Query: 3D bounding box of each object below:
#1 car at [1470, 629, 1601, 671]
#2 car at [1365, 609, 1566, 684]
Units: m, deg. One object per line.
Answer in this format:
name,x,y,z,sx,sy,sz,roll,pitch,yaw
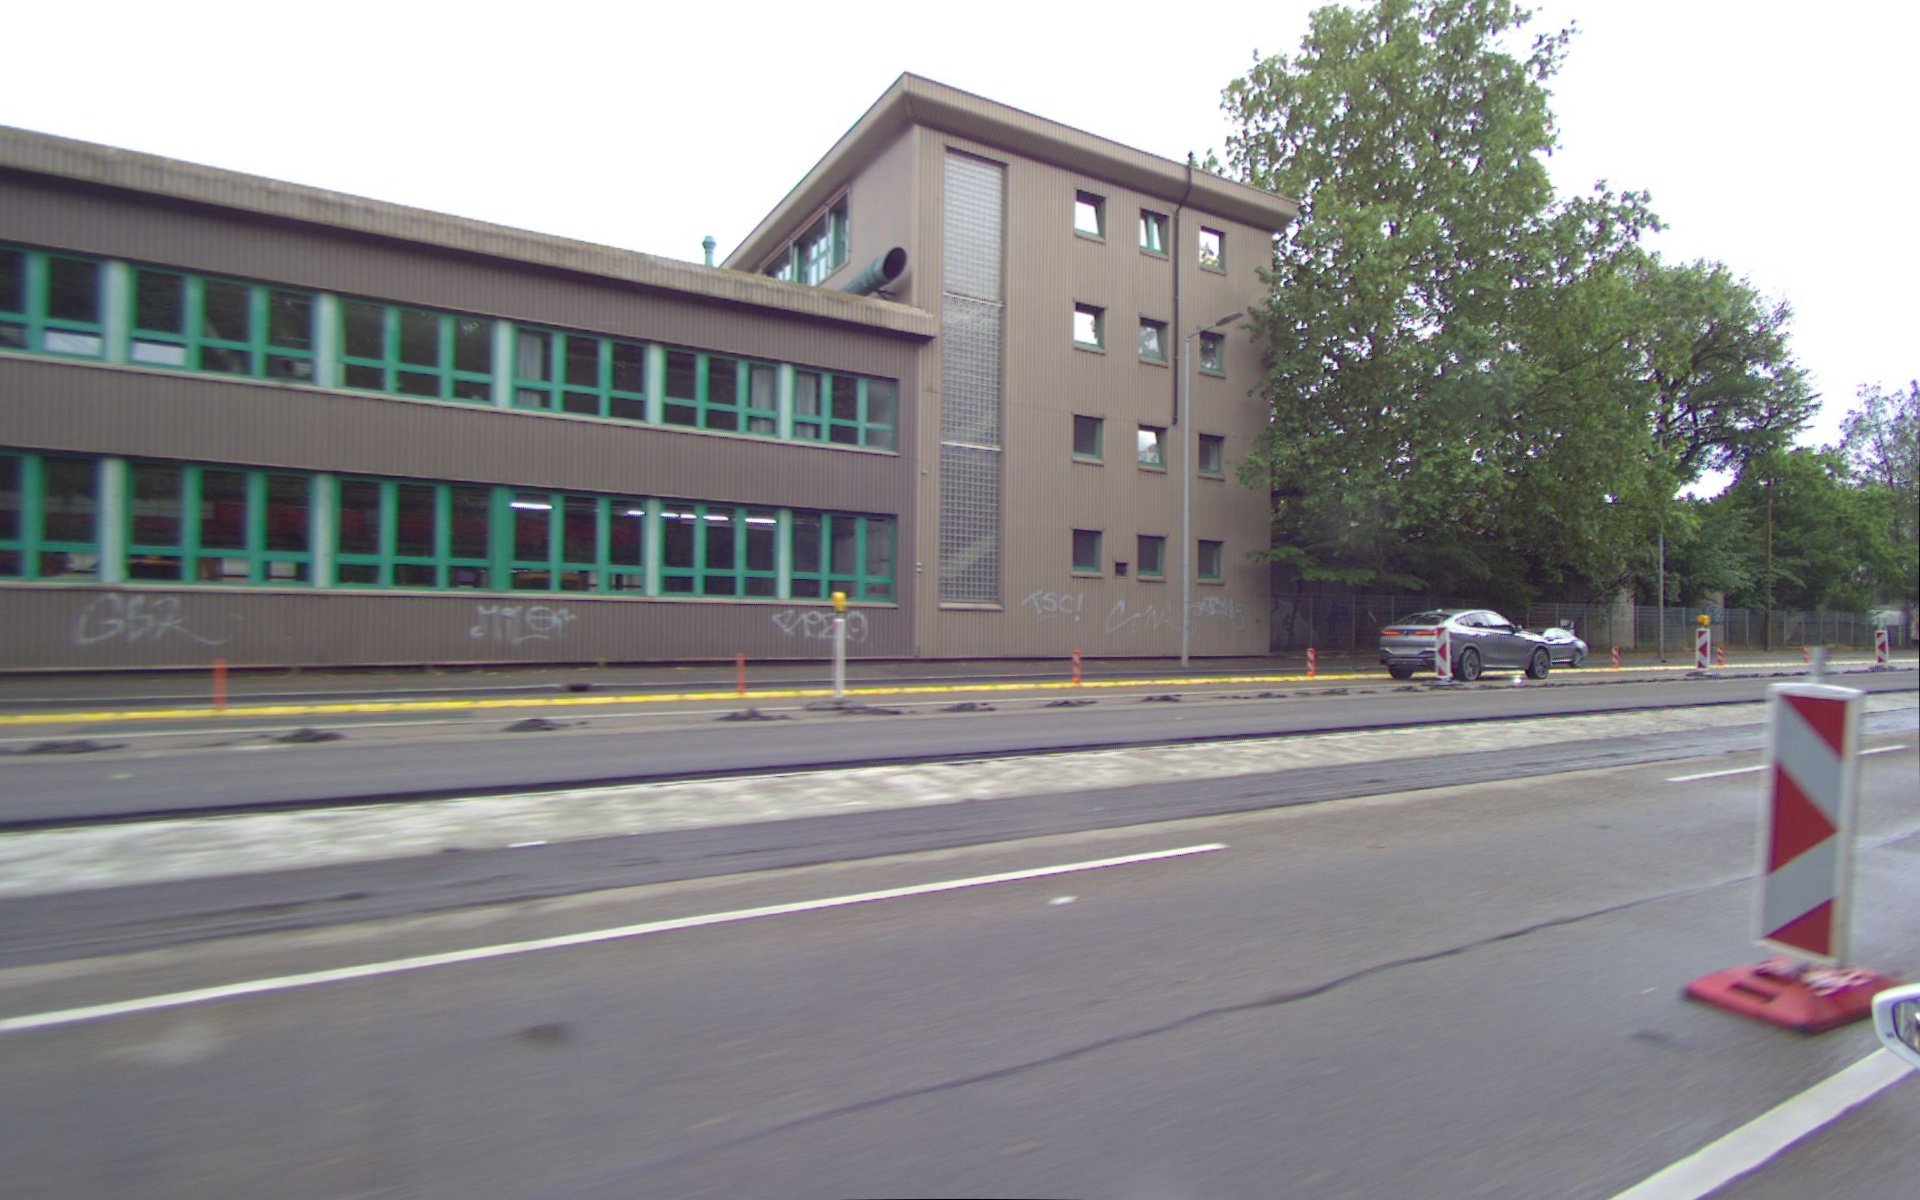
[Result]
car,20.585,1.765,35.875,4.735,1.366,1.984,1,-1,-31
car,12.386,1.101,24.531,4.999,1.634,2.066,1,-1,-32
